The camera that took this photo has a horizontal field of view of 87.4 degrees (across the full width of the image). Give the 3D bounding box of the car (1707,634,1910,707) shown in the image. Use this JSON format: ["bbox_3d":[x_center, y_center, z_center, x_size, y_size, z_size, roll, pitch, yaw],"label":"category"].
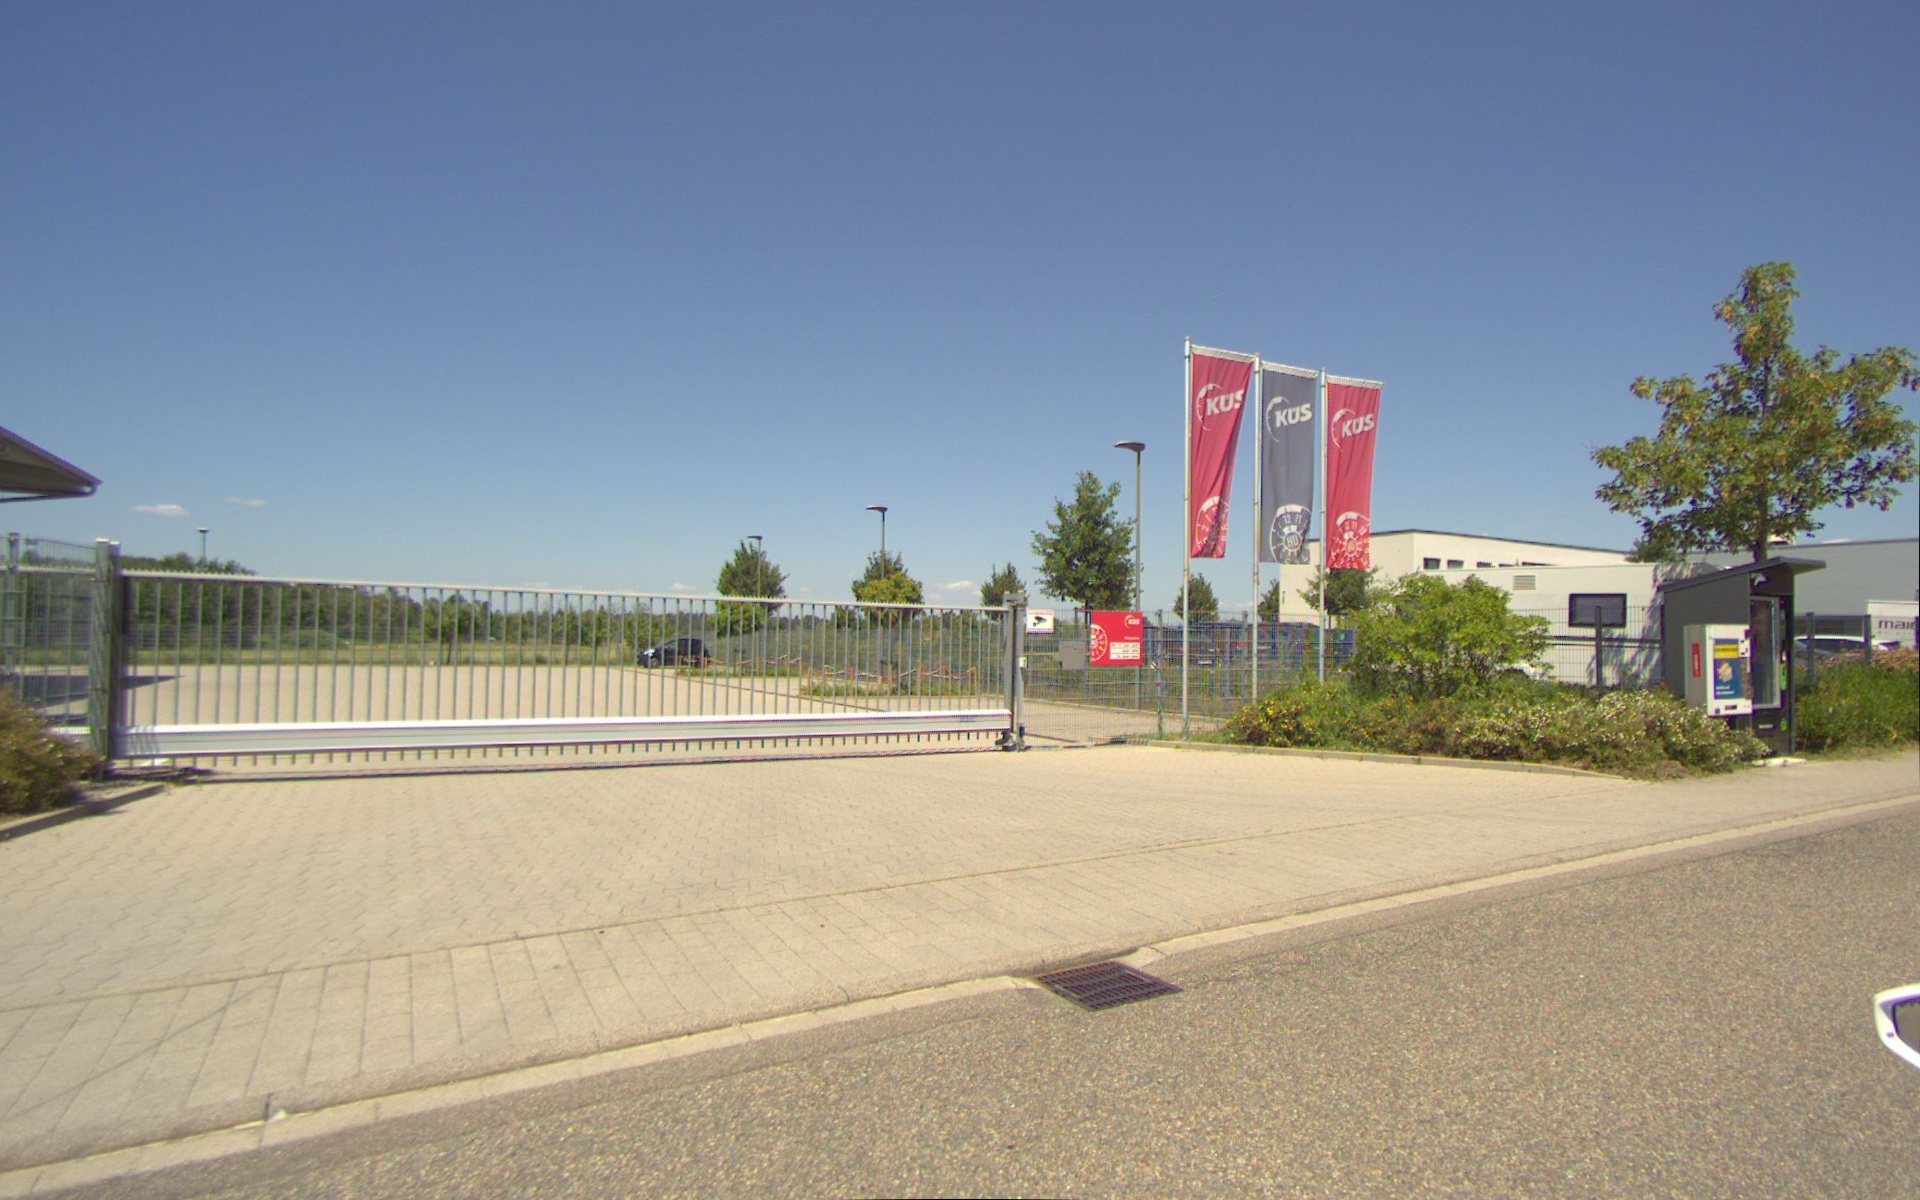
[{"bbox_3d":[20.439,1.648,24.337,1.483,1.632,3.472,2,-3,-30],"label":"car"}]

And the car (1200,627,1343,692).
[{"bbox_3d":[9.453,1.787,30.803,1.894,1.839,3.968,2,-3,-30],"label":"car"}]

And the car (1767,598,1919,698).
[{"bbox_3d":[25.353,1.311,27.496,1.979,2.620,4.687,2,-3,-33],"label":"car"}]

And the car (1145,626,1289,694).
[{"bbox_3d":[7.491,1.727,29.603,1.894,1.839,3.968,2,-3,-30],"label":"car"}]

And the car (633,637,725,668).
[{"bbox_3d":[-13.592,2.558,48.547,3.950,1.371,1.938,3,-3,-28],"label":"car"}]

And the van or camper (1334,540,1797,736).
[{"bbox_3d":[11.283,0.739,19.671,2.758,3.077,7.349,2,-3,-30],"label":"van or camper"}]

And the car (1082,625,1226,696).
[{"bbox_3d":[5.394,1.671,28.400,1.894,1.839,3.968,2,-3,-30],"label":"car"}]
